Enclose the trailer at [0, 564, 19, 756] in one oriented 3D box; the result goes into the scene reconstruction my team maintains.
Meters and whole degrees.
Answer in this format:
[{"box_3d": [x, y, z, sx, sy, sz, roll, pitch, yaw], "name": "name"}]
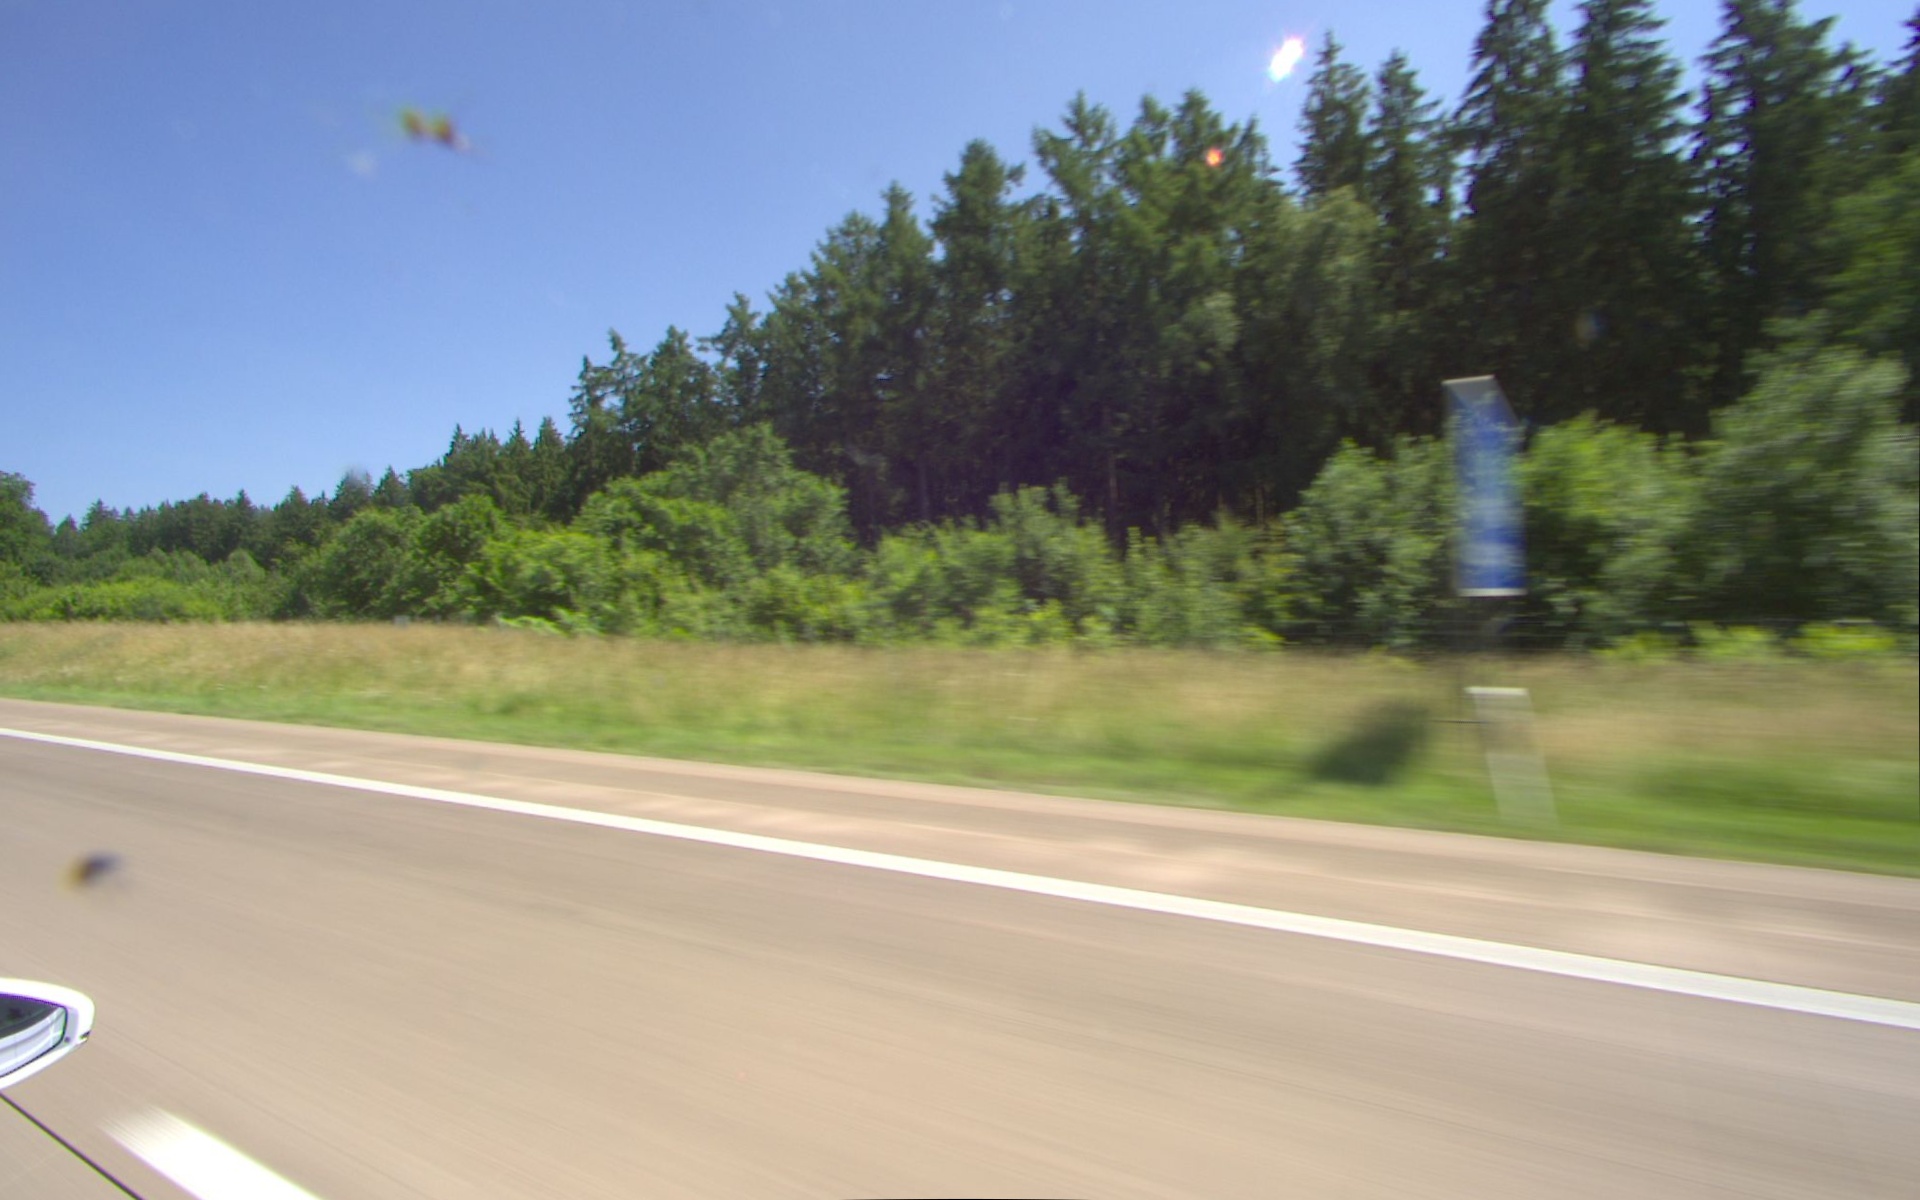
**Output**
[{"box_3d": [-12.972, 0.713, 11.914, 3.958, 2.192, 1.654, -1, -1, 32], "name": "trailer"}]
